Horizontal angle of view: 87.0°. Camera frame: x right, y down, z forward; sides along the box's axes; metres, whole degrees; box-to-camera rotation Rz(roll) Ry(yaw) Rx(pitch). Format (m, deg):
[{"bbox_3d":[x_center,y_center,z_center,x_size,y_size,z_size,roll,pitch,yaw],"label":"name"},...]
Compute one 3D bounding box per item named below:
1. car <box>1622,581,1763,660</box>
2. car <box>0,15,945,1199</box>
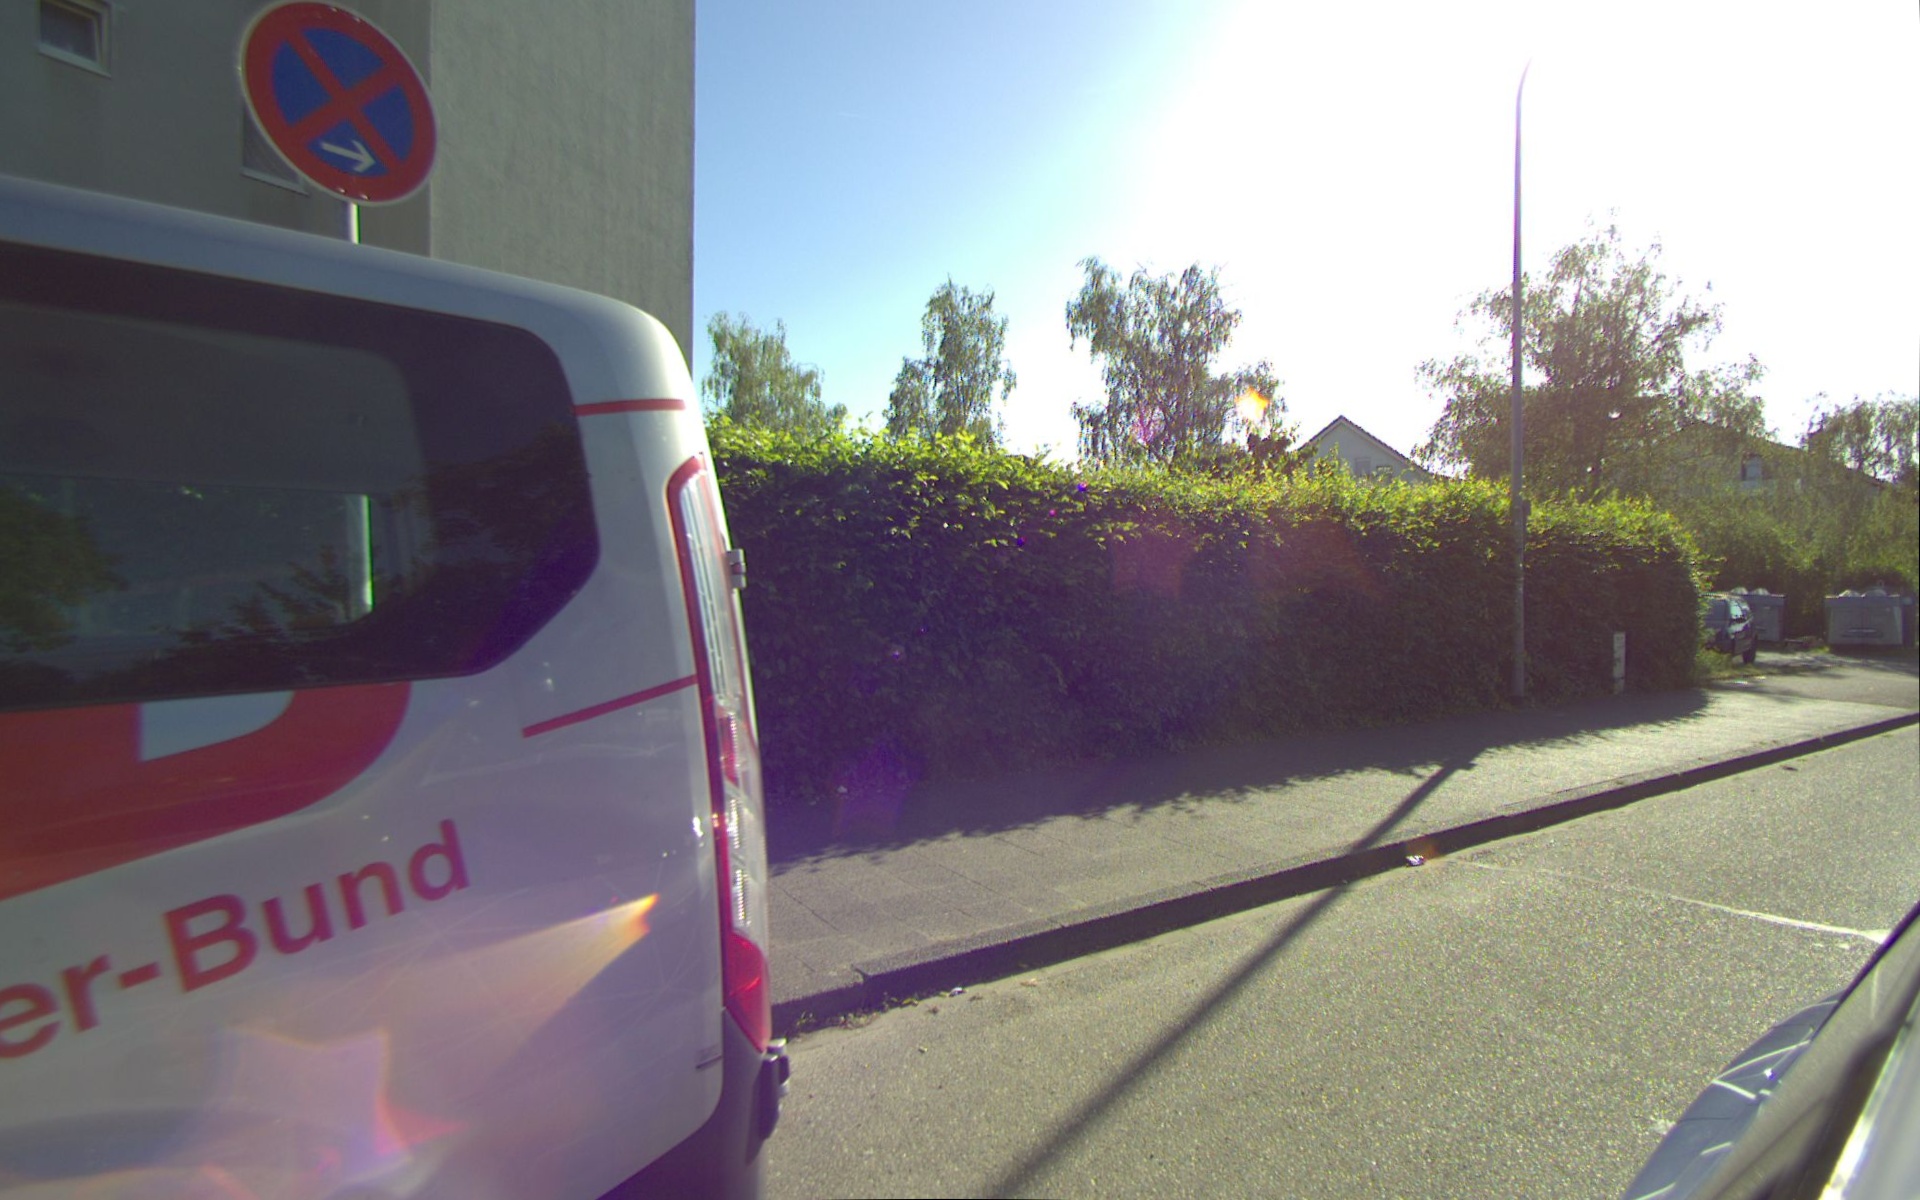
[{"bbox_3d":[15.386,0.387,21.203,3.473,1.485,1.701,1,1,-42],"label":"car"},{"bbox_3d":[-2.572,0.454,0.852,4.860,1.936,2.000,0,1,-36],"label":"car"}]
